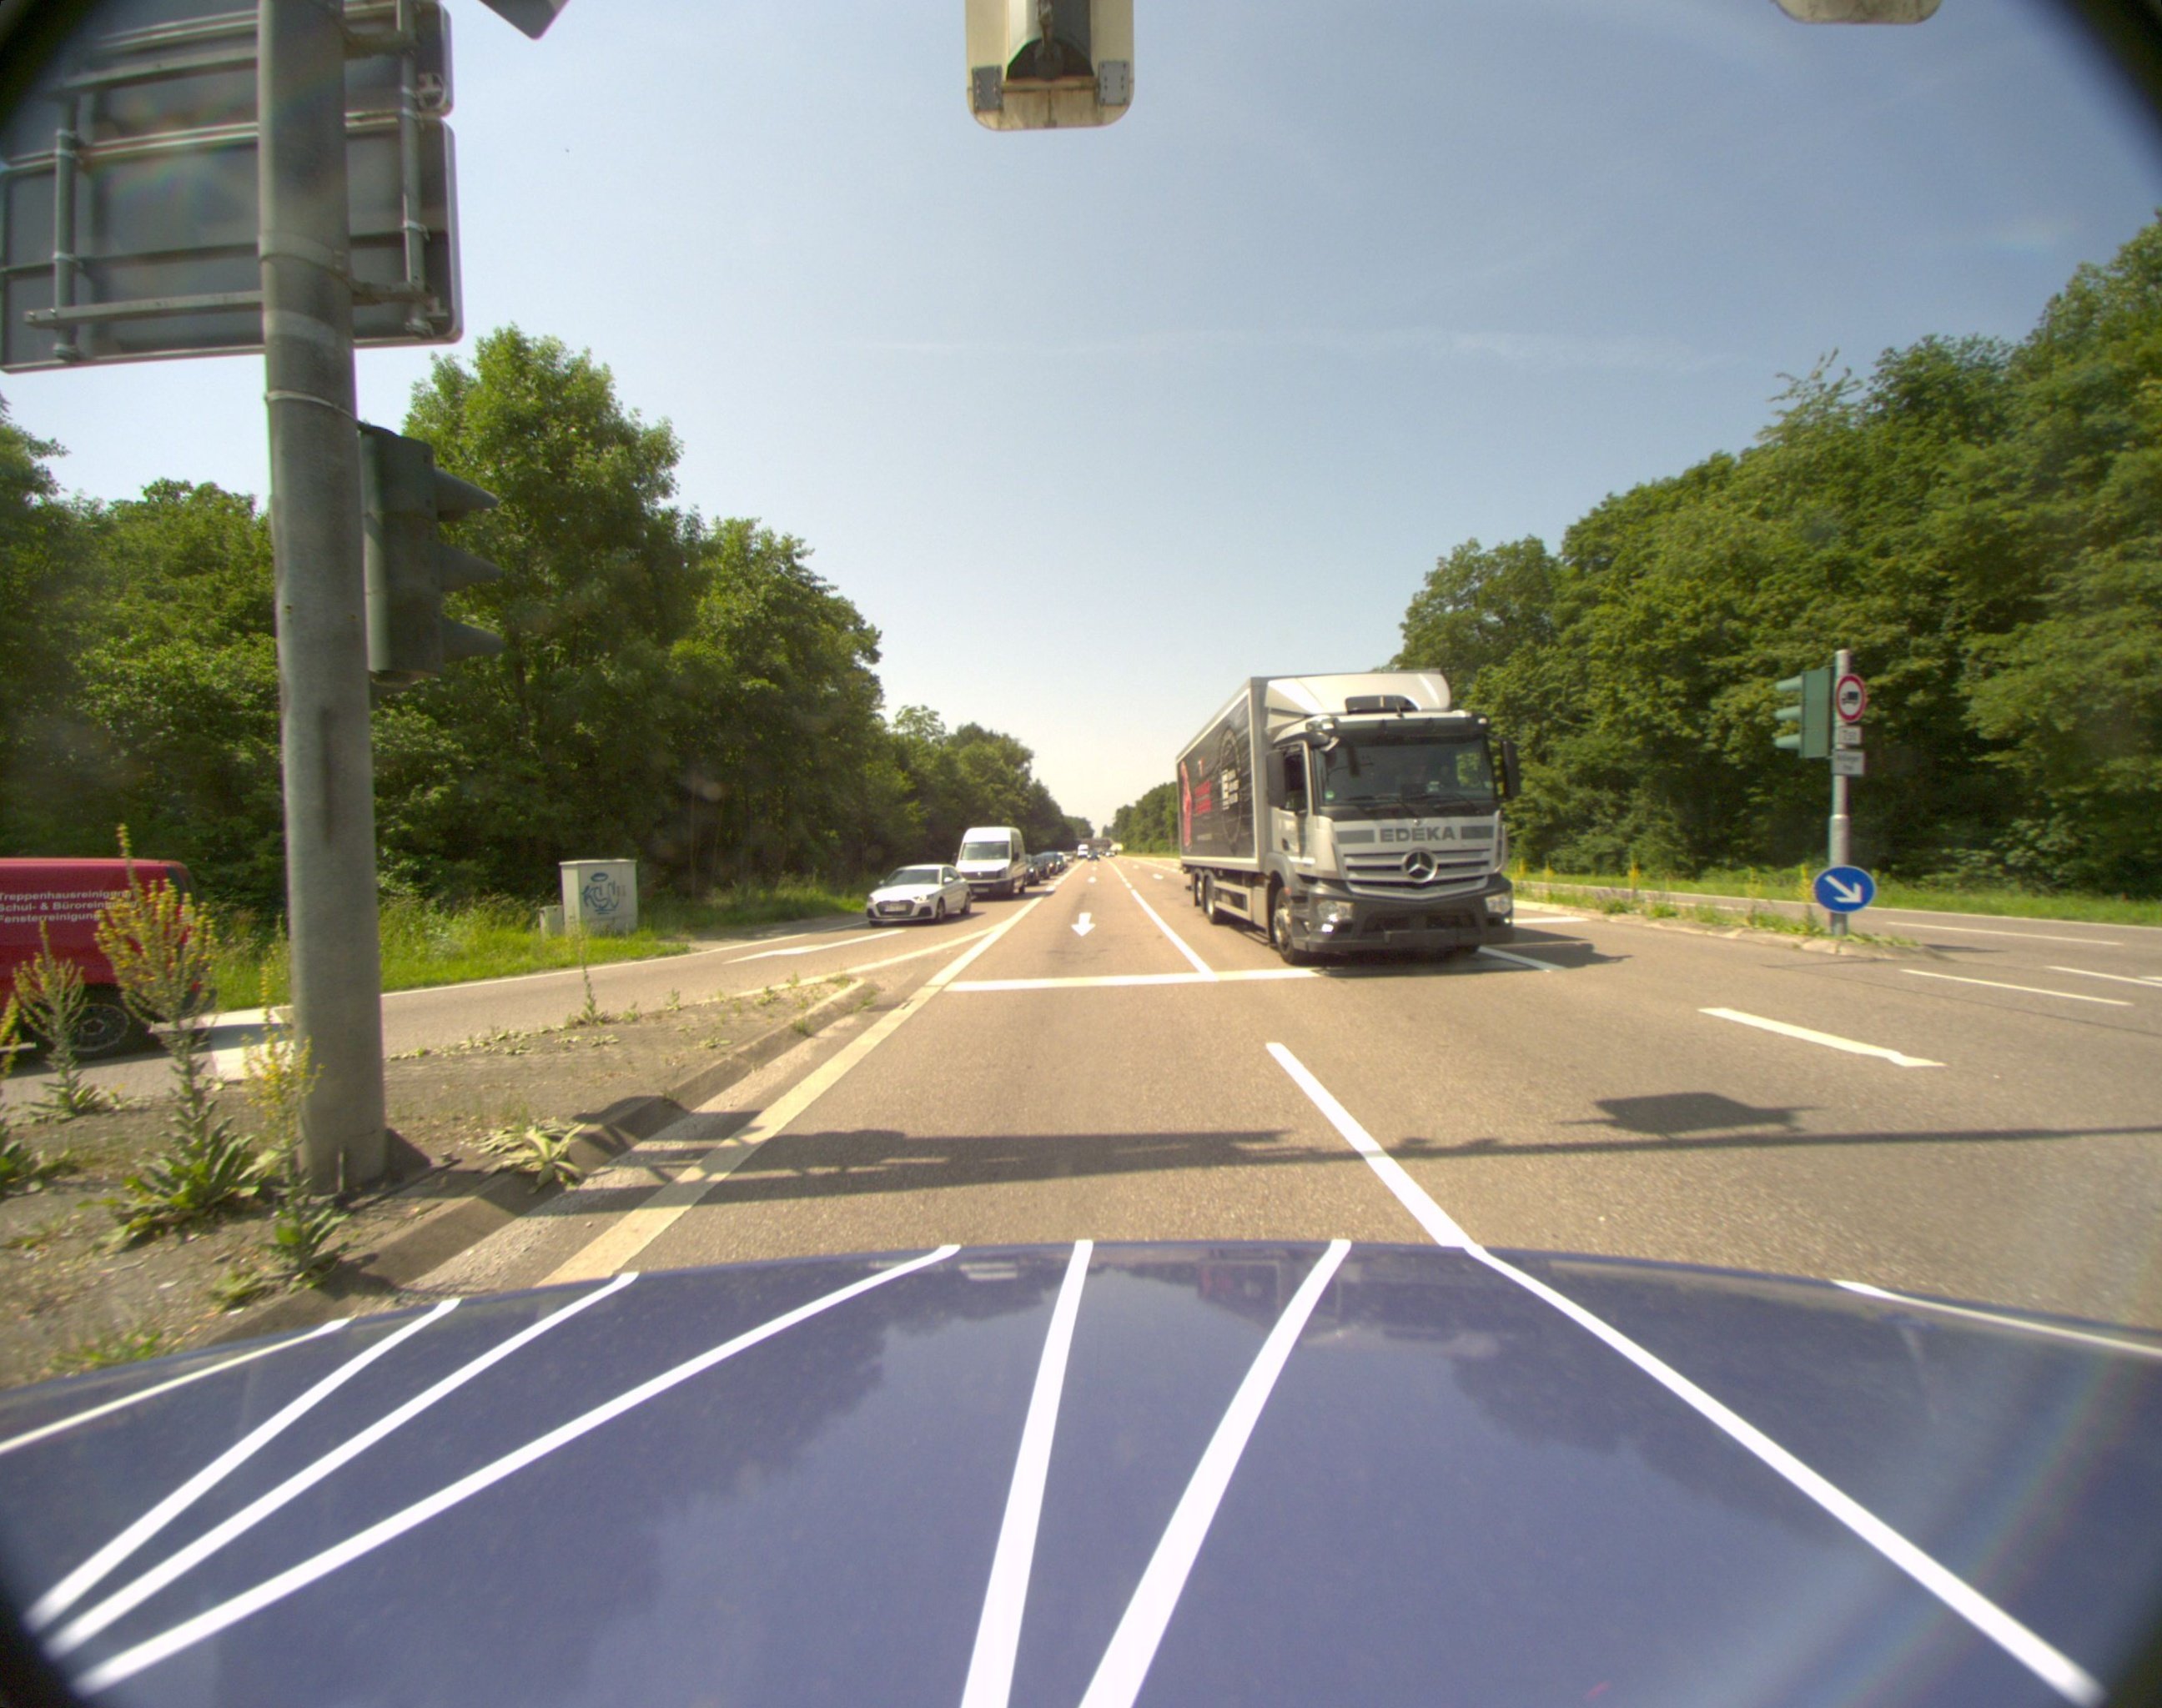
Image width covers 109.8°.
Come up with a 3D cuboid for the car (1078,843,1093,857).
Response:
[{"bbox_3d":[0.892,-0.845,149.049,2.673,2.685,6.330,-1,1,3],"label":"car"}]

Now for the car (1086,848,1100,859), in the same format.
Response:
[{"bbox_3d":[1.745,-0.125,110.926,1.992,1.575,4.364,-2,1,0],"label":"car"}]

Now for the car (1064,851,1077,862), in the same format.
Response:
[{"bbox_3d":[-1.462,0.355,108.190,1.796,1.431,4.228,-2,1,0],"label":"car"}]

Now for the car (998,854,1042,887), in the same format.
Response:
[{"bbox_3d":[-2.979,0.796,38.026,1.796,1.452,4.228,-3,1,0],"label":"car"}]

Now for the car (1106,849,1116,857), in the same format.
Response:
[{"bbox_3d":[6.081,-0.235,154.120,1.998,1.543,4.000,-1,0,1],"label":"car"}]

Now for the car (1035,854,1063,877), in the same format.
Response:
[{"bbox_3d":[-2.200,0.760,53.136,1.796,1.431,4.228,-2,1,0],"label":"car"}]

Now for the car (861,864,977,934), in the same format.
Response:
[{"bbox_3d":[-3.992,1.059,19.382,1.693,1.427,4.001,-3,0,5],"label":"car"}]

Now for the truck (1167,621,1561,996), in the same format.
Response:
[{"bbox_3d":[3.654,-0.532,13.721,2.753,3.862,11.319,-3,1,0],"label":"truck"}]

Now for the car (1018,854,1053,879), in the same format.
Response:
[{"bbox_3d":[-2.696,0.738,45.566,1.796,1.348,4.228,-2,1,0],"label":"car"}]

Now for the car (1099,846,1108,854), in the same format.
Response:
[{"bbox_3d":[5.308,-0.940,180.222,1.998,1.868,4.000,-1,1,2],"label":"car"}]

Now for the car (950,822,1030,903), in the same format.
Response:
[{"bbox_3d":[-3.242,0.268,28.375,1.974,2.630,6.060,-3,0,2],"label":"car"}]

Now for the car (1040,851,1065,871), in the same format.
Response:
[{"bbox_3d":[-2.187,0.548,59.482,1.796,1.431,4.228,-2,1,0],"label":"car"}]

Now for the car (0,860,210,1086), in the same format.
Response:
[{"bbox_3d":[-10.217,1.033,5.892,1.793,1.812,4.505,-2,0,41],"label":"car"}]

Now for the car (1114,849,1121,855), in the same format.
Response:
[{"bbox_3d":[11.291,-0.618,235.955,1.998,1.543,3.999,-3,1,1],"label":"car"}]

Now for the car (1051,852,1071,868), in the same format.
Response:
[{"bbox_3d":[-1.892,0.528,72.706,1.796,1.431,4.228,-1,1,0],"label":"car"}]
